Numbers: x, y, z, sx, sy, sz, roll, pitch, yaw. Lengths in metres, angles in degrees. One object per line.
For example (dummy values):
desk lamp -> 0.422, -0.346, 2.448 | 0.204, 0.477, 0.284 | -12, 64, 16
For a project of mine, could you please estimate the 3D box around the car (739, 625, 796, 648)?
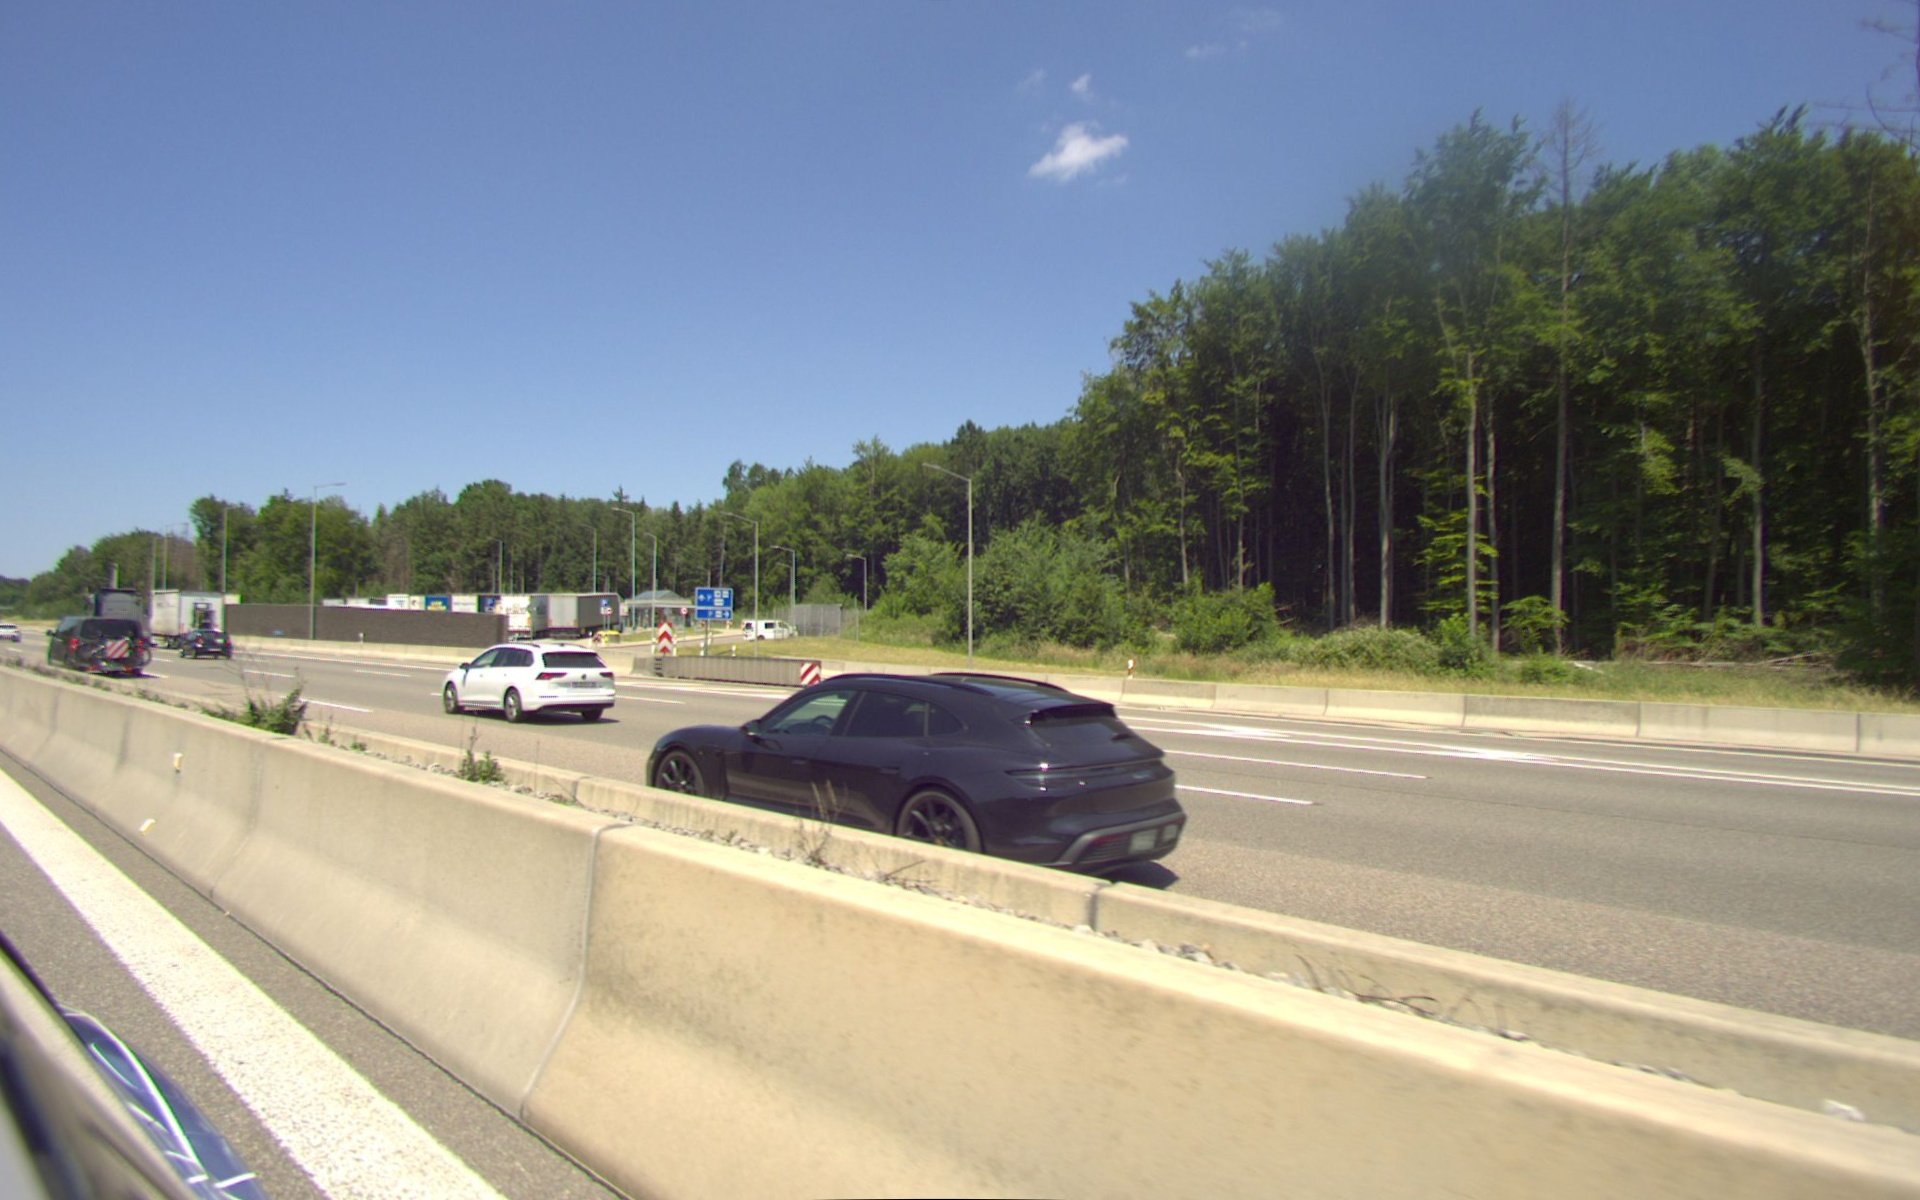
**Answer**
car -> -17.416, 3.345, 91.562 | 4.663, 2.029, 2.091 | 2, -2, -35

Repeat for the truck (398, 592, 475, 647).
truck -> -57.698, 2.239, 111.996 | 3.180, 5.655, 11.548 | 1, -2, -4

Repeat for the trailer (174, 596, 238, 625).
trailer -> -87.676, 1.294, 117.539 | 14.603, 3.148, 2.940 | -1, -3, 42

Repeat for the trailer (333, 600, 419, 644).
trailer -> -72.501, 2.809, 126.188 | 3.175, 5.111, 14.579 | 1, -2, -4

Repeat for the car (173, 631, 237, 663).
car -> -38.135, 2.357, 51.092 | 3.812, 1.498, 1.735 | -1, -4, 41

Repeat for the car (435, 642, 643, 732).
car -> -8.226, 1.571, 19.547 | 4.837, 1.475, 1.742 | -1, -3, 41

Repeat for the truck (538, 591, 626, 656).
truck -> -35.663, 2.300, 96.467 | 3.175, 5.655, 16.724 | 1, -2, -4

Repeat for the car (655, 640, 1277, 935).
car -> -0.191, 1.092, 7.659 | 4.586, 1.475, 1.893 | 0, -2, 41

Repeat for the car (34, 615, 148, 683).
car -> -27.506, 1.500, 31.966 | 5.654, 1.968, 1.878 | -1, -3, 41

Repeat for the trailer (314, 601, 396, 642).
trailer -> -80.185, 2.994, 134.614 | 3.083, 5.111, 14.579 | 1, -2, -4

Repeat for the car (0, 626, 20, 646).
car -> -73.822, 2.755, 77.795 | 4.457, 1.518, 1.705 | -1, -3, 40

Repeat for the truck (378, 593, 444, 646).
truck -> -61.173, 2.225, 113.103 | 3.180, 5.656, 8.496 | 1, -2, -4

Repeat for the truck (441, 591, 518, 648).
truck -> -50.420, 2.167, 106.704 | 3.317, 5.655, 11.548 | 1, -2, -4

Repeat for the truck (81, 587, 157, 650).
truck -> -54.322, 1.227, 65.297 | 7.014, 3.870, 2.551 | -1, -4, 41

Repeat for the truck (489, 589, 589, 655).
truck -> -39.122, 2.176, 94.992 | 3.399, 5.655, 16.724 | 1, -2, -4

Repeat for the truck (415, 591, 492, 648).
truck -> -53.854, 2.154, 108.026 | 3.180, 5.655, 11.548 | 1, -2, -4

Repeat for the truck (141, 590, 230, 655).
truck -> -53.917, 1.556, 70.319 | 10.591, 4.229, 2.805 | -1, -3, 41
